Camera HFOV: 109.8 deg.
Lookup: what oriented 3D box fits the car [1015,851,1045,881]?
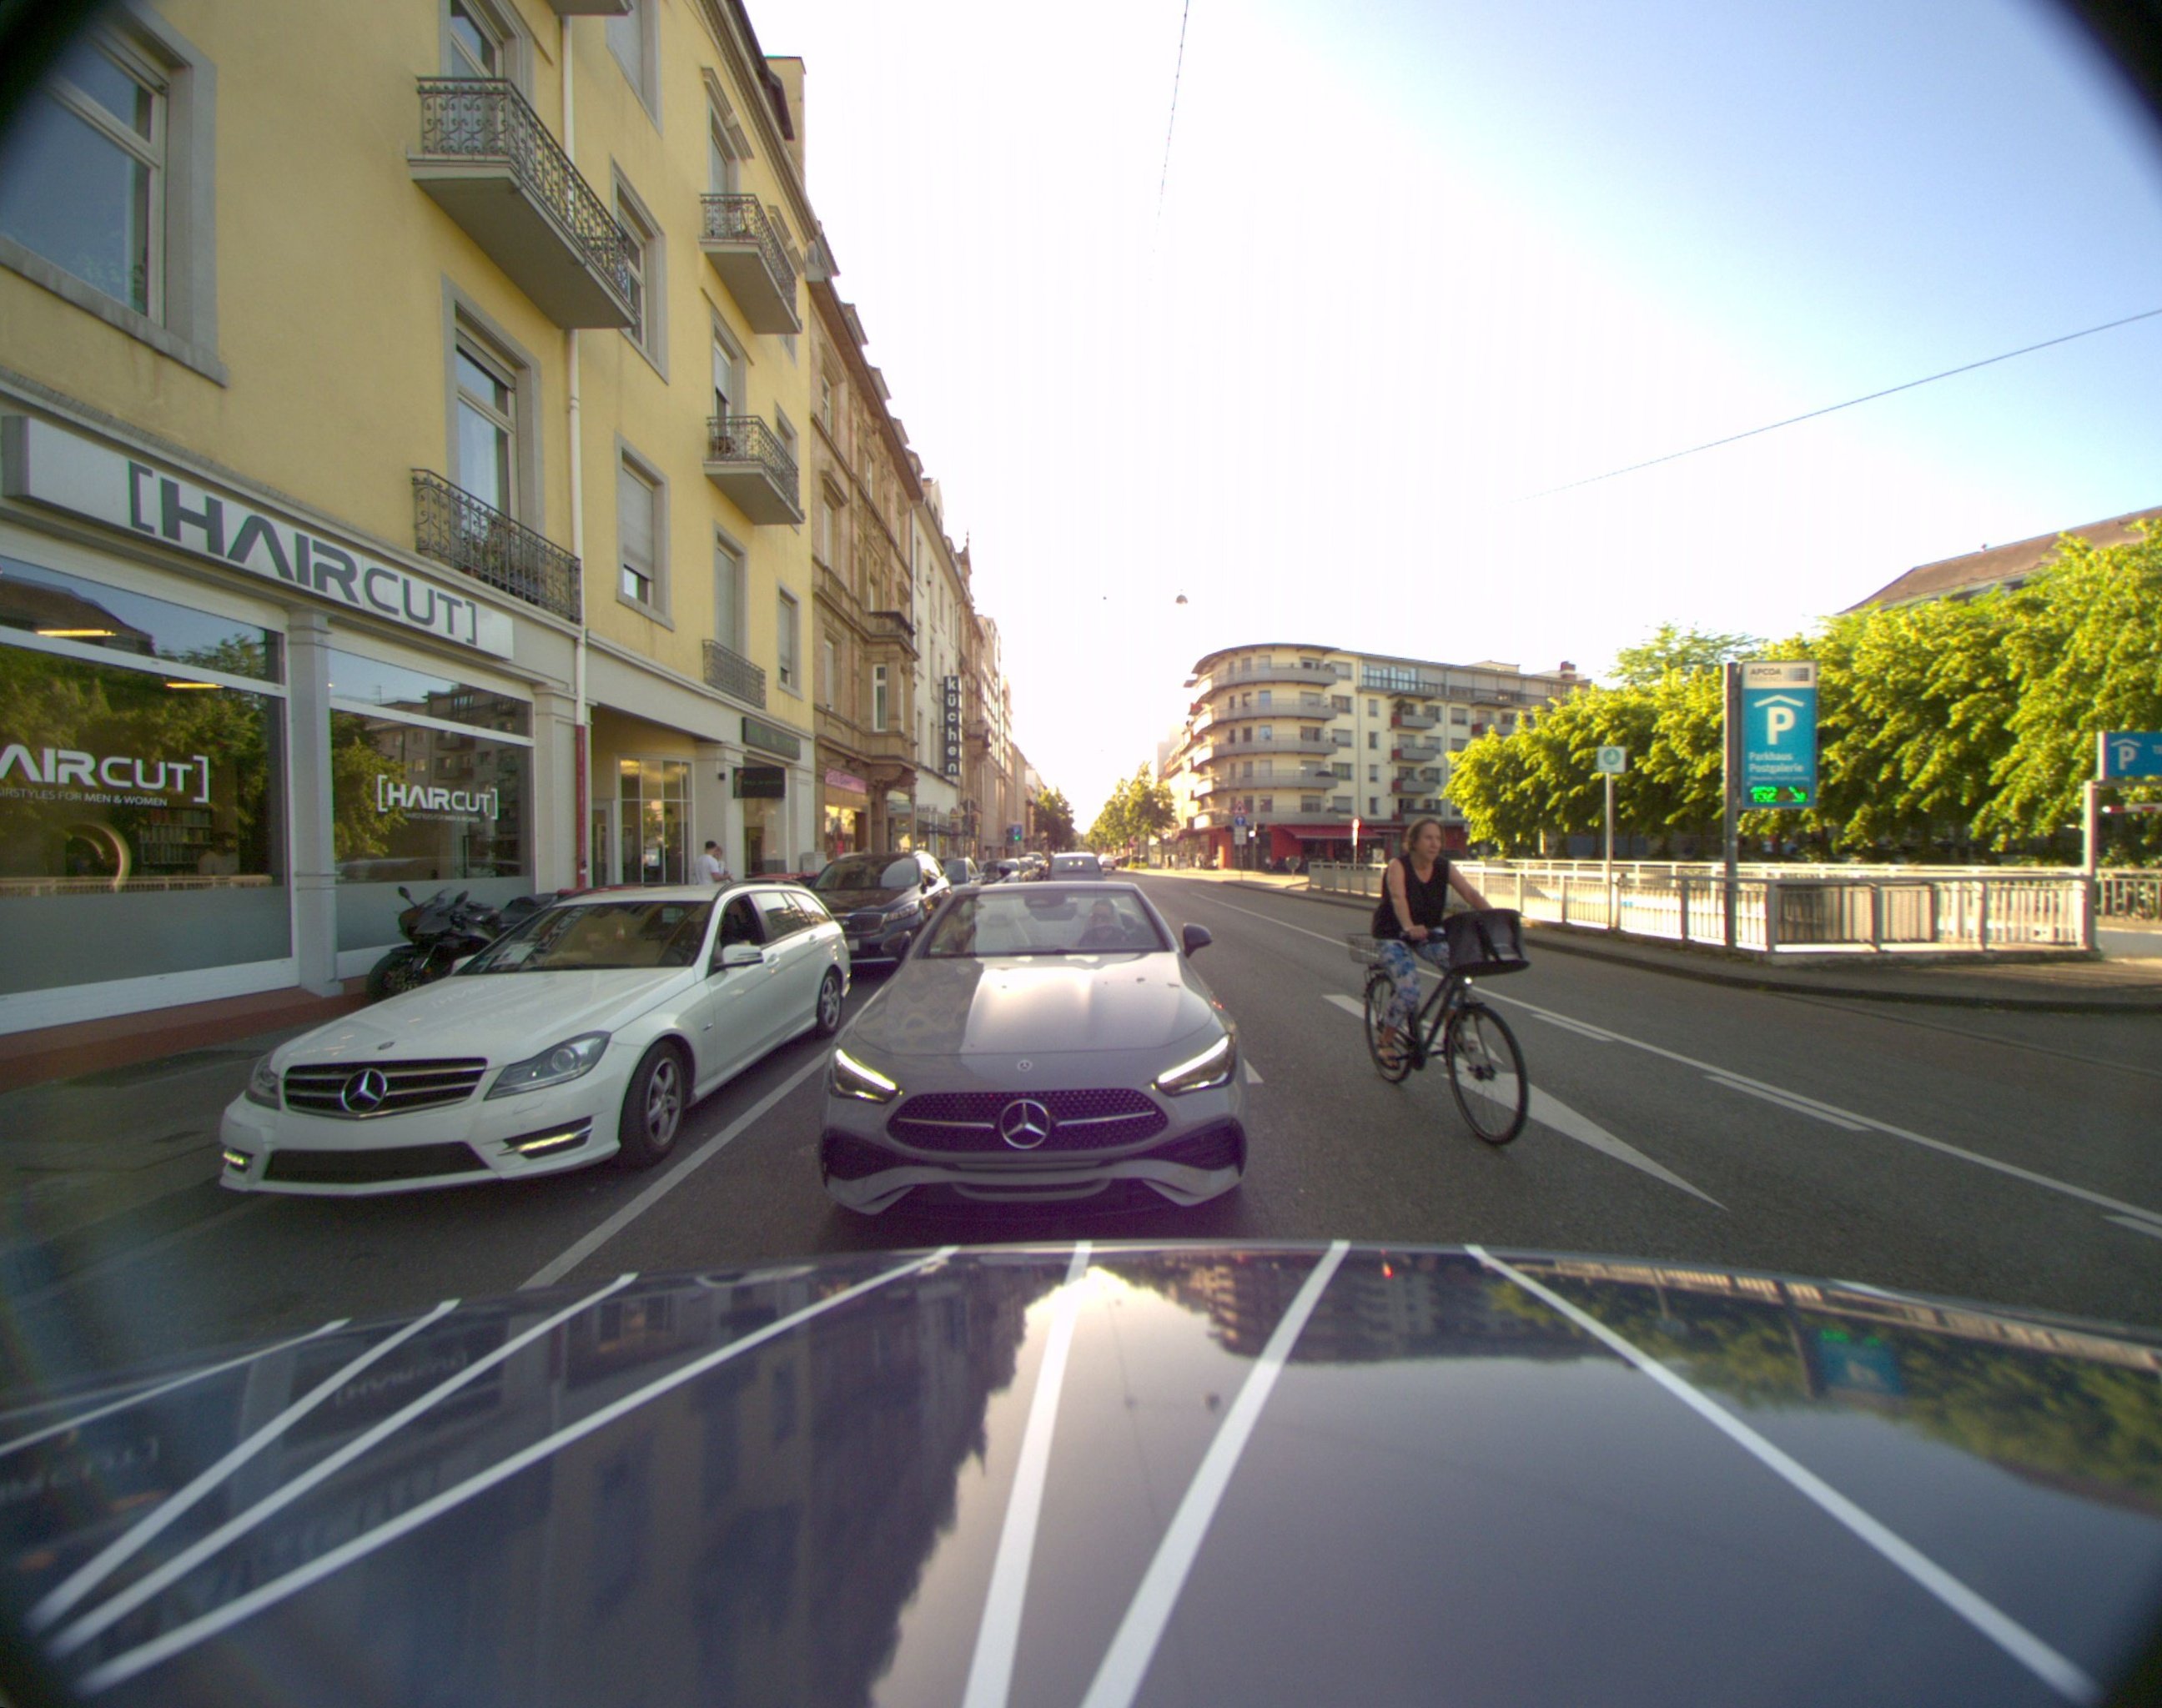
[{"bbox_3d":[-3.155,0.712,47.553,1.695,1.670,3.880,-2,1,-3],"label":"car"}]

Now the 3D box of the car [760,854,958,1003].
[{"bbox_3d":[-3.015,0.888,11.344,1.806,1.680,4.408,-2,1,-3],"label":"car"}]

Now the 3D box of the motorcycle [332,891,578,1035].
[{"bbox_3d":[-6.257,1.021,7.794,0.735,1.124,2.109,2,1,1],"label":"motorcycle"}]

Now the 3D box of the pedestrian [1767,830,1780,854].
[{"bbox_3d":[46.276,-0.781,50.764,0.494,1.570,0.493,-3,1,-24],"label":"pedestrian"}]

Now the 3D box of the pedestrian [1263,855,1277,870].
[{"bbox_3d":[14.920,0.661,60.045,0.780,1.191,0.884,-2,1,-10],"label":"pedestrian"}]

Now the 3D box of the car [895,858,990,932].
[{"bbox_3d":[-3.184,0.903,17.995,1.583,1.514,2.998,-2,1,1],"label":"car"}]

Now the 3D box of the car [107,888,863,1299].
[{"bbox_3d":[-3.028,1.070,5.252,1.672,1.364,4.377,-2,1,1],"label":"car"}]

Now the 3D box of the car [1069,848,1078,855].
[{"bbox_3d":[-1.600,-0.506,160.017,1.695,1.437,3.575,-2,1,-2],"label":"car"}]

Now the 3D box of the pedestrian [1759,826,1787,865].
[{"bbox_3d":[33.425,-0.429,36.723,0.748,1.832,0.683,-2,1,-13],"label":"pedestrian"}]

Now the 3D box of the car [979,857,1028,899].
[{"bbox_3d":[-3.029,0.899,30.318,1.695,1.482,3.796,-2,1,-3],"label":"car"}]

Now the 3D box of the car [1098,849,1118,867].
[{"bbox_3d":[2.833,0.365,79.657,1.836,1.831,3.886,1,1,-2],"label":"car"}]

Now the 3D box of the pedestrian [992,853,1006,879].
[{"bbox_3d":[-5.681,0.826,52.749,0.826,1.750,0.823,-2,1,-1],"label":"pedestrian"}]

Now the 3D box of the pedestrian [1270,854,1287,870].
[{"bbox_3d":[15.426,0.649,59.386,0.937,1.191,0.832,-3,1,-24],"label":"pedestrian"}]

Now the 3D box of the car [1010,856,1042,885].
[{"bbox_3d":[-2.945,0.862,40.955,1.461,1.391,3.362,-2,1,-1],"label":"car"}]

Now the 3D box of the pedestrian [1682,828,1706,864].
[{"bbox_3d":[31.758,-0.419,39.372,0.748,1.832,0.683,-3,1,-21],"label":"pedestrian"}]

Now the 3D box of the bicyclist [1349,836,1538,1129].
[{"bbox_3d":[2.008,0.650,4.333,0.607,1.475,0.958,-2,1,2],"label":"bicyclist"}]

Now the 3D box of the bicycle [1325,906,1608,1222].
[{"bbox_3d":[2.016,0.999,4.339,0.629,1.216,2.000,-2,1,2],"label":"bicycle"}]

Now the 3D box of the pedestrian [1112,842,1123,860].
[{"bbox_3d":[4.623,-0.376,96.200,1.117,2.328,1.028,-2,1,-3],"label":"pedestrian"}]

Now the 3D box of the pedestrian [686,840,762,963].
[{"bbox_3d":[-5.718,0.728,12.182,0.975,1.866,0.534,-3,1,-31],"label":"pedestrian"}]

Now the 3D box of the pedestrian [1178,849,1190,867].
[{"bbox_3d":[10.339,0.377,76.390,1.060,1.739,0.962,-2,1,1],"label":"pedestrian"}]

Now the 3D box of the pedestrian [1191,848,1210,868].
[{"bbox_3d":[10.181,0.358,64.675,1.140,1.656,1.271,-2,1,-13],"label":"pedestrian"}]

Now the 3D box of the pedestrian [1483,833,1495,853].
[{"bbox_3d":[38.364,-1.006,71.434,0.747,1.832,0.684,-2,1,1],"label":"pedestrian"}]

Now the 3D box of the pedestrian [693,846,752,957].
[{"bbox_3d":[-6.151,0.792,13.066,0.630,1.826,0.770,-2,1,-7],"label":"pedestrian"}]

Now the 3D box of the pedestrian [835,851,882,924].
[{"bbox_3d":[-5.376,0.788,18.399,0.837,1.709,0.819,-2,1,-3],"label":"pedestrian"}]

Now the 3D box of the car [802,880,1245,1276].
[{"bbox_3d":[-0.283,0.996,5.364,1.769,1.360,4.471,-2,1,-2],"label":"car"}]

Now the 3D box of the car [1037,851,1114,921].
[{"bbox_3d":[-0.204,0.790,21.345,1.866,1.658,4.706,-2,1,-2],"label":"car"}]

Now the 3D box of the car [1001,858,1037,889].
[{"bbox_3d":[-2.957,0.896,36.687,1.461,1.310,3.362,-2,1,-1],"label":"car"}]

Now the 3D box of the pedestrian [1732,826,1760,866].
[{"bbox_3d":[32.155,-0.390,36.732,0.748,1.852,0.683,-2,1,-13],"label":"pedestrian"}]
